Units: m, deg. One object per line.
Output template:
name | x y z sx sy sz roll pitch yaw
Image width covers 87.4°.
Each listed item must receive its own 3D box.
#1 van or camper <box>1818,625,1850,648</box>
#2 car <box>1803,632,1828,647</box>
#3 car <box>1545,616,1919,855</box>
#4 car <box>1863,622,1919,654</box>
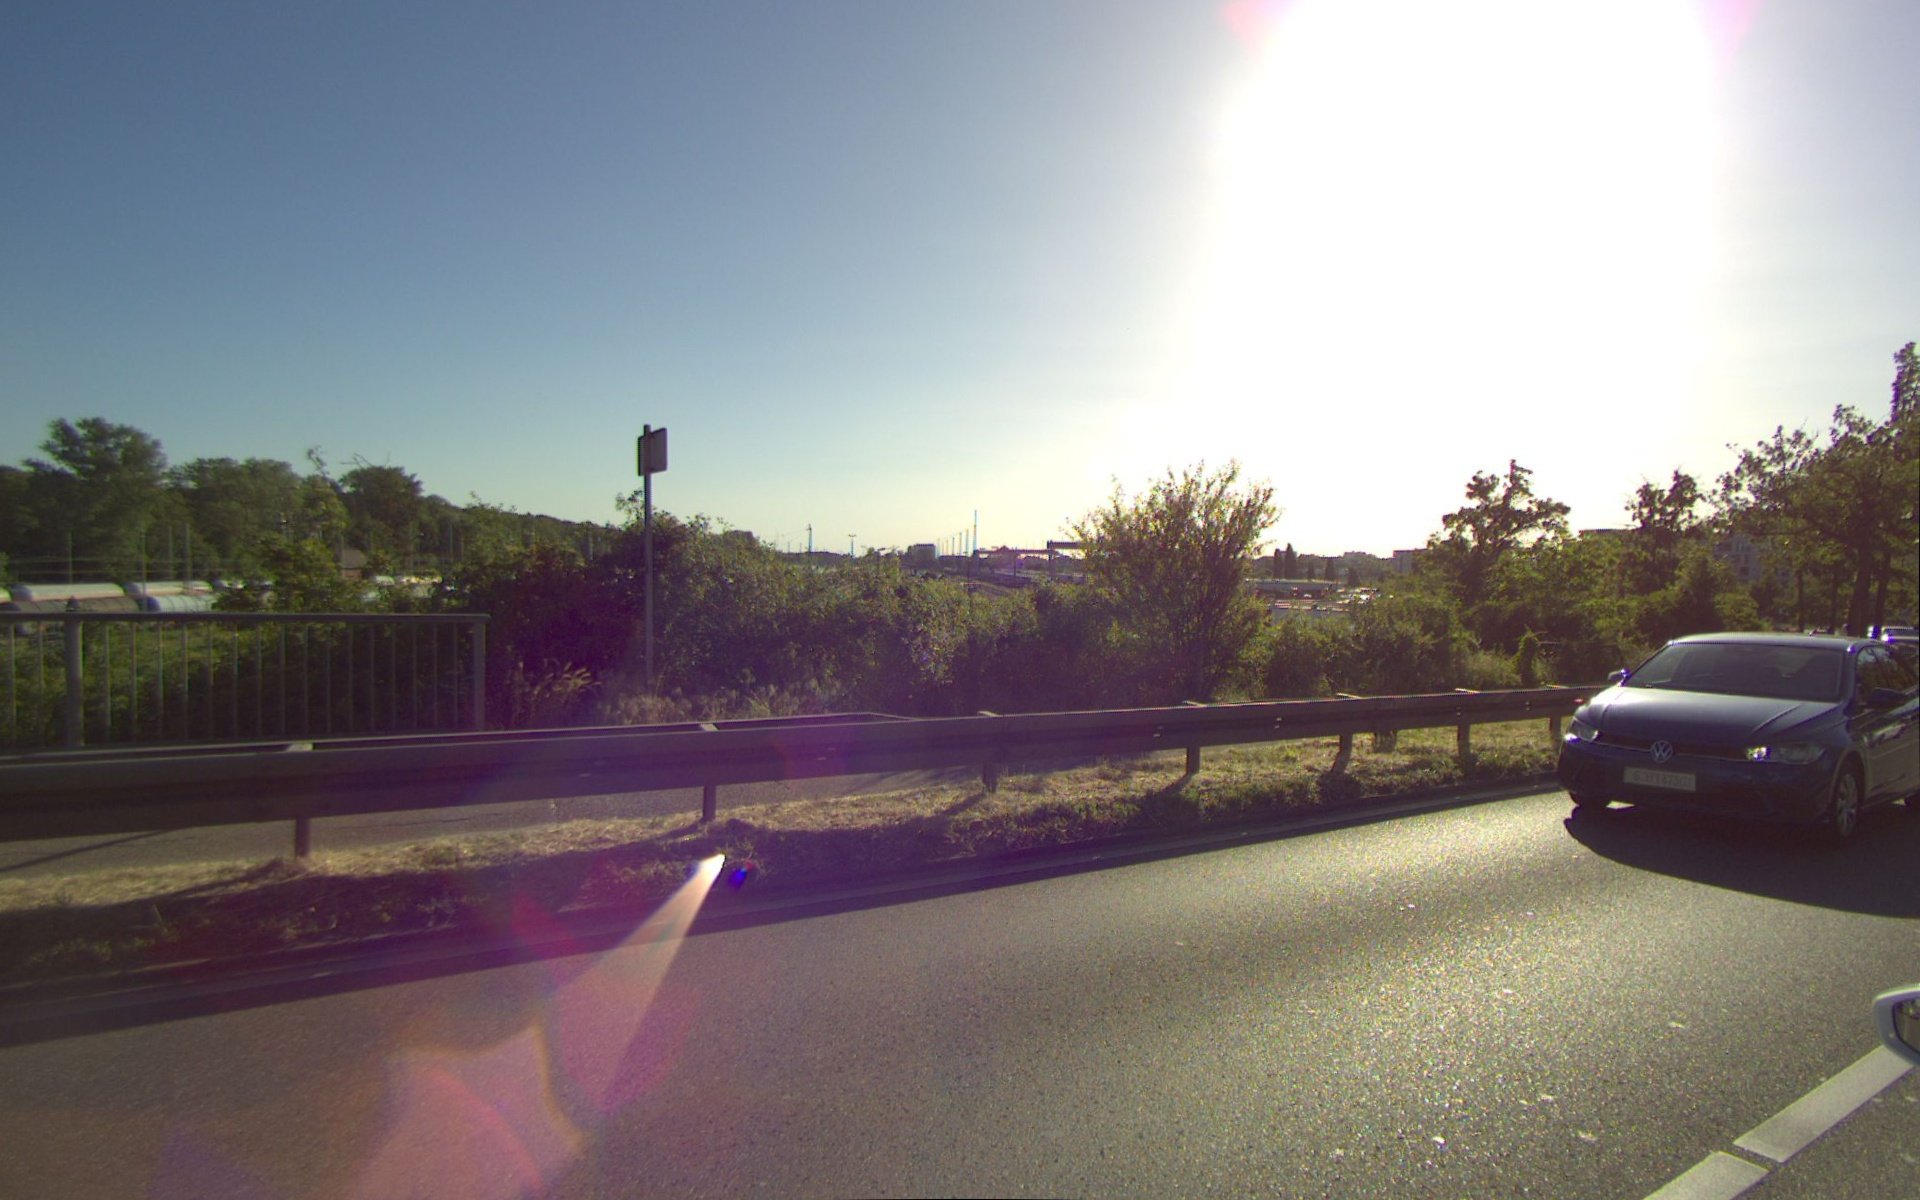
van or camper | 79.162 3.292 90.967 1.806 1.815 4.516 5 4 44
car | 95.508 4.410 112.120 1.786 1.574 4.125 2 0 36
car | 6.597 0.921 8.217 3.962 1.470 1.667 2 0 -36
car | 48.386 1.950 52.045 1.671 1.538 3.972 2 0 32
